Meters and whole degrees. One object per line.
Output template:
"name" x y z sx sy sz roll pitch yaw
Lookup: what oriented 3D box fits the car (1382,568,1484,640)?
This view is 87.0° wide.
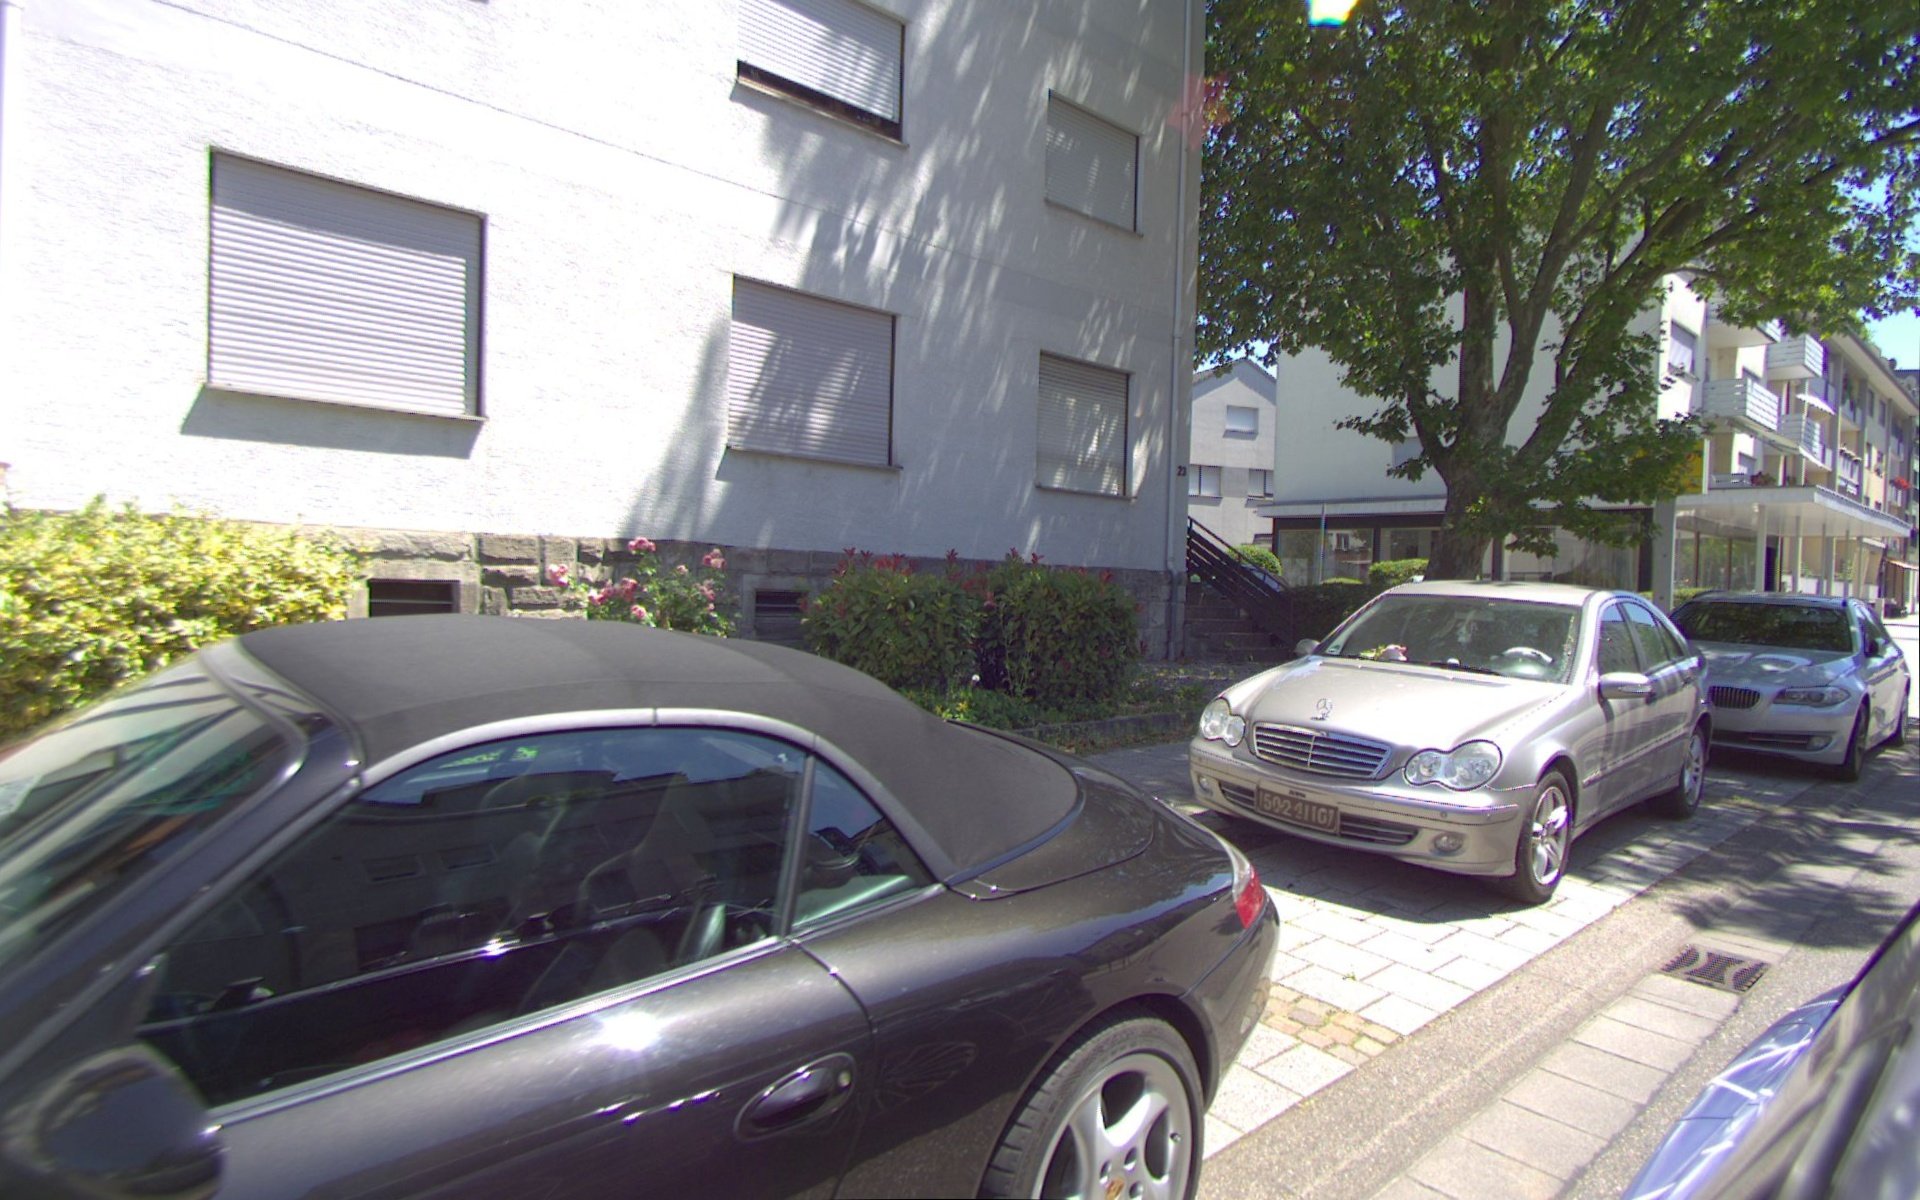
"car" 10.985 0.034 23.714 1.715 1.518 3.443 2 2 19

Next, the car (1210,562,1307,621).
"car" 8.252 -0.273 27.826 1.724 1.518 3.591 1 2 31

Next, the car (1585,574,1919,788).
"car" 7.735 0.557 9.577 4.677 1.530 1.832 0 2 -42

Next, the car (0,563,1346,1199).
"car" -1.184 0.650 1.570 4.101 1.357 1.561 0 3 -41

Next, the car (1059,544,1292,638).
"car" 3.974 -0.176 18.531 4.015 1.562 1.693 0 2 -29
